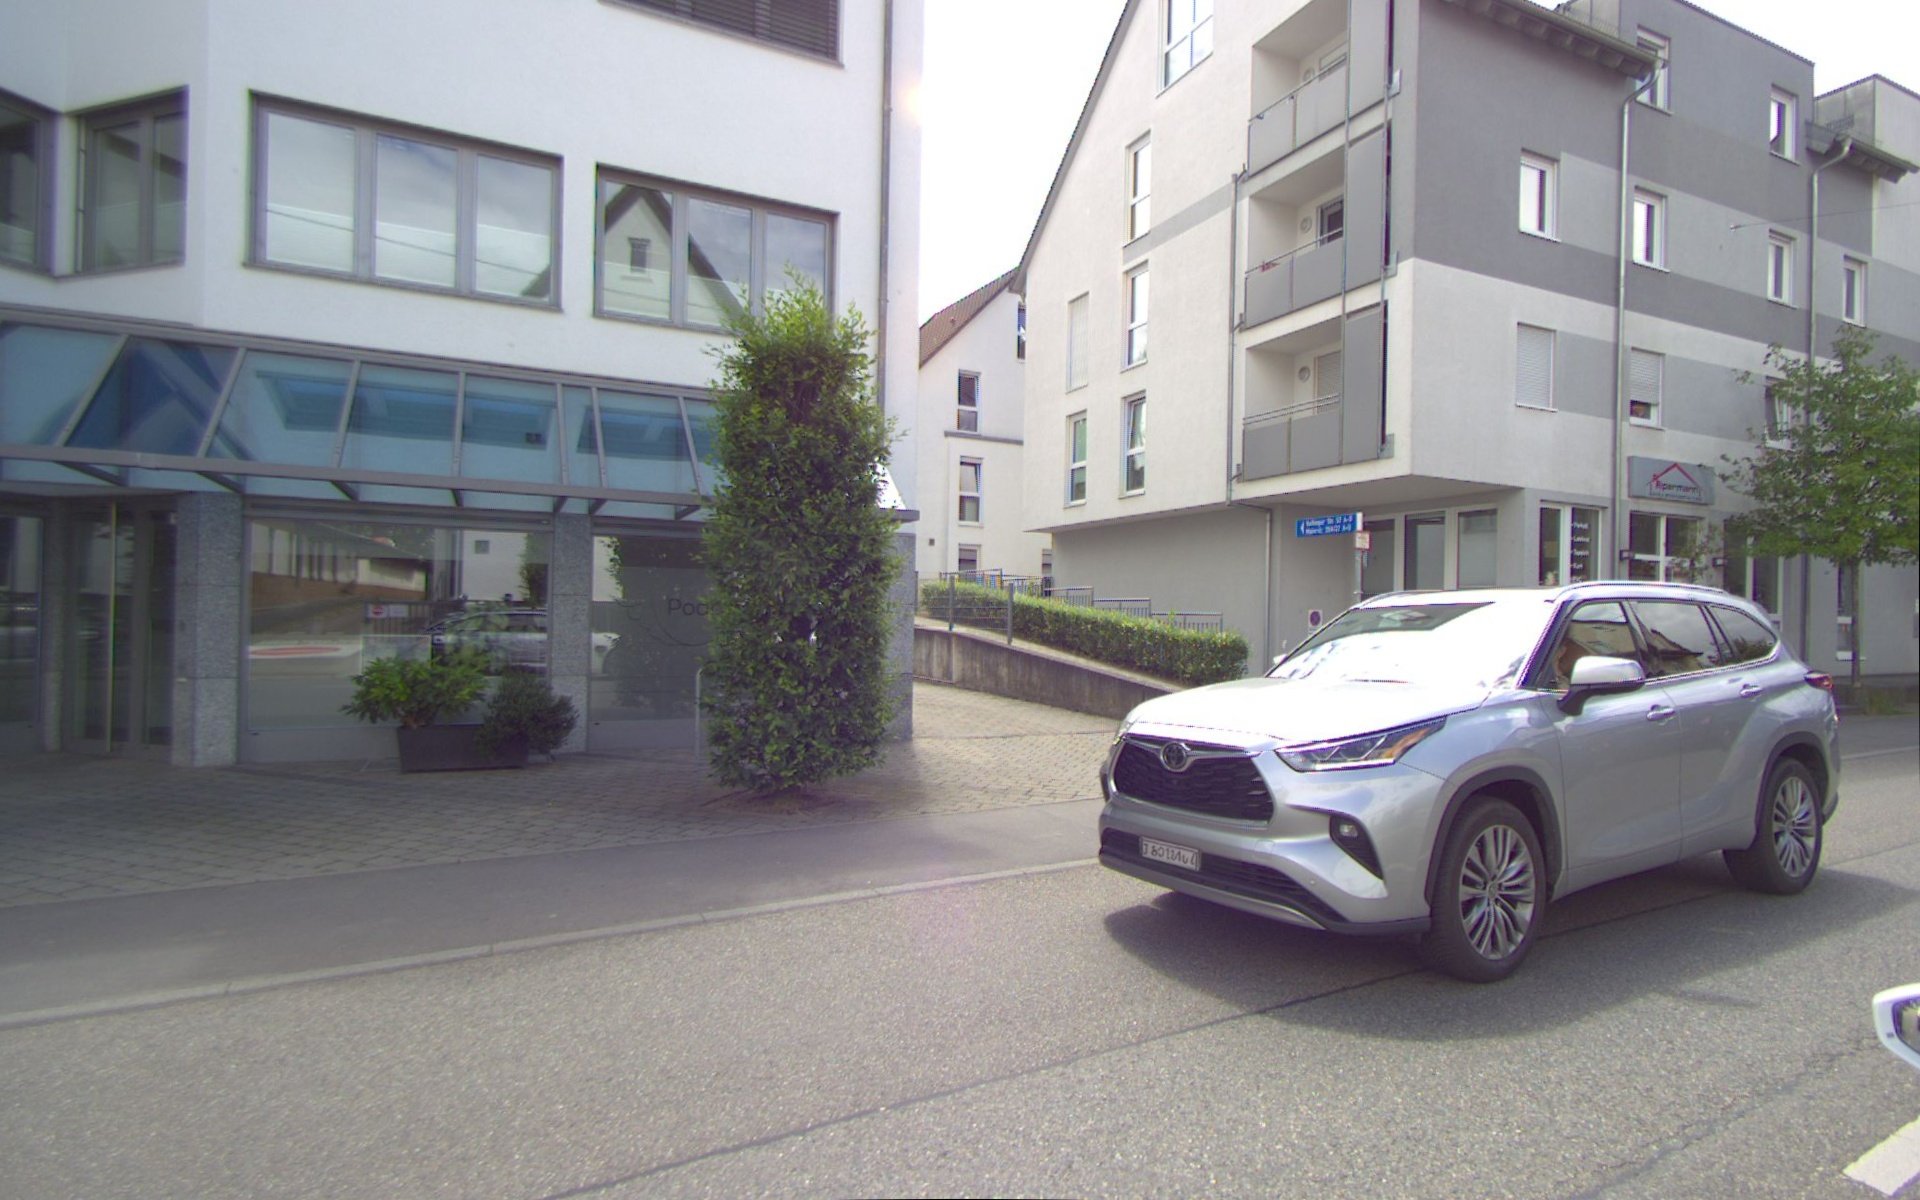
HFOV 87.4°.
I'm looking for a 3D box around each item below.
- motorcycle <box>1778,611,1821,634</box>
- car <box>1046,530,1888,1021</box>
[{"bbox_3d":[38.598,1.017,46.174,2.320,1.018,1.191,1,0,-41],"label":"motorcycle"},{"bbox_3d":[2.992,0.723,5.682,4.739,1.760,1.977,1,-3,-30],"label":"car"}]
